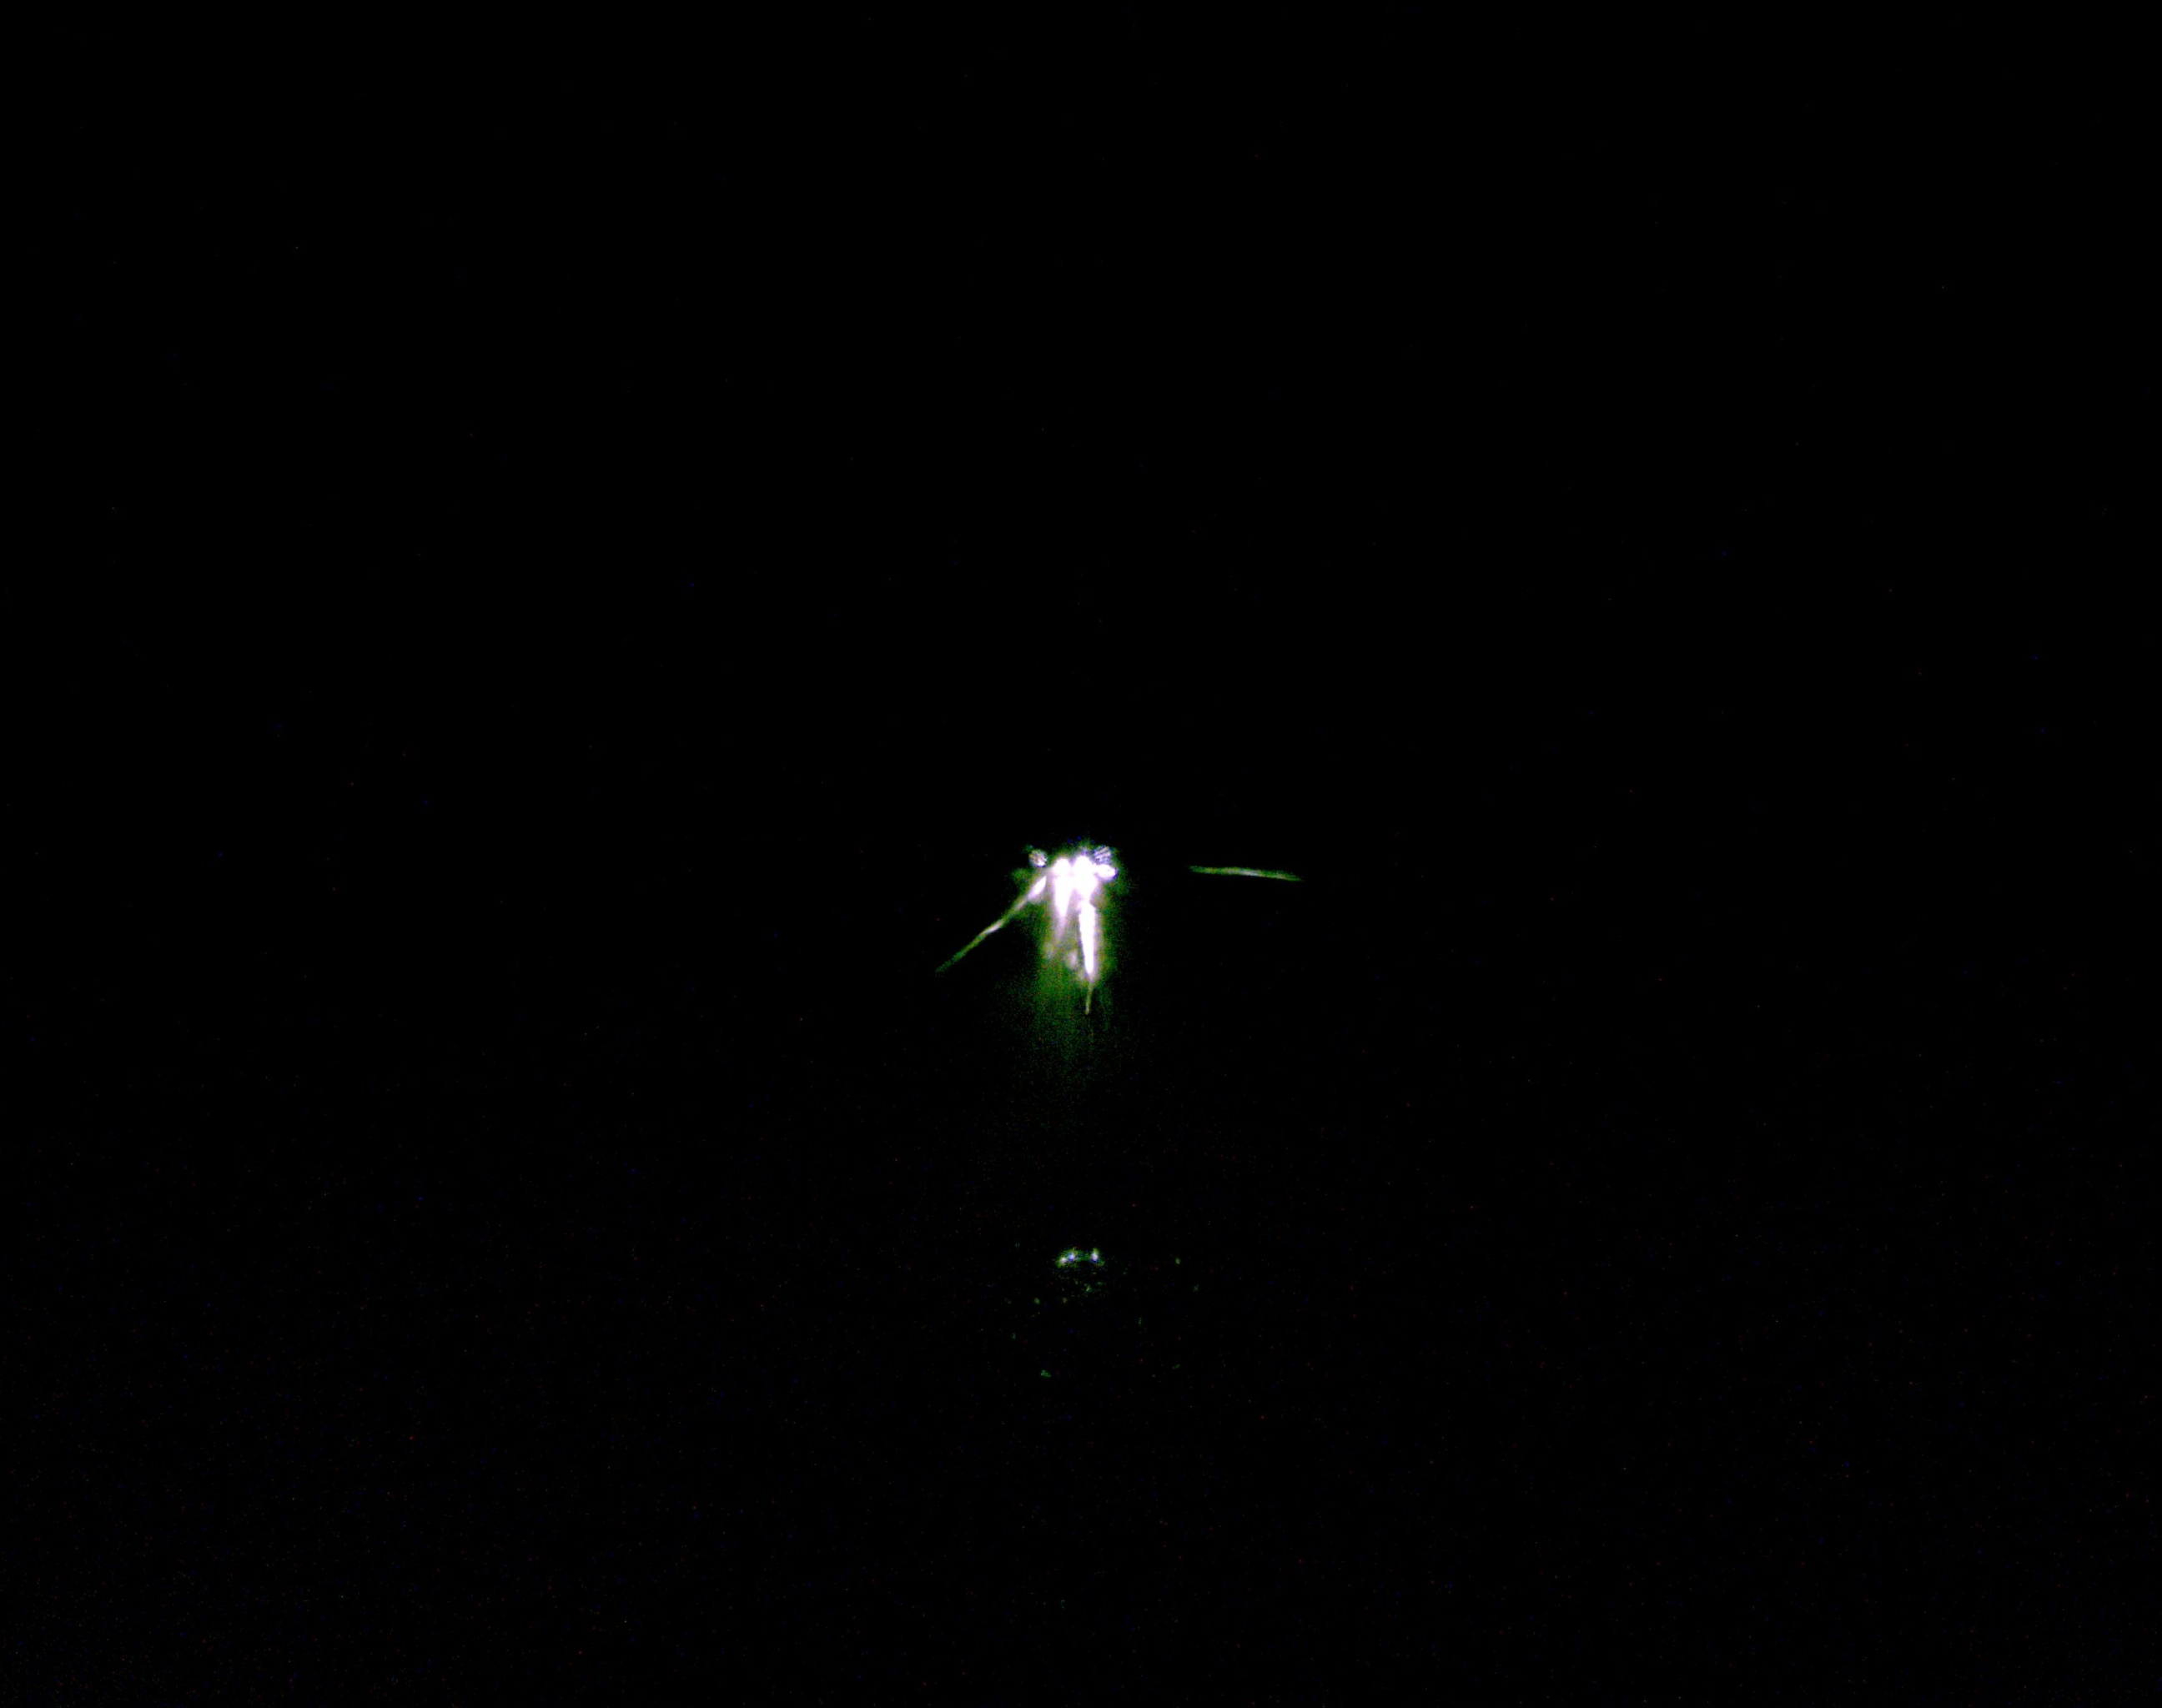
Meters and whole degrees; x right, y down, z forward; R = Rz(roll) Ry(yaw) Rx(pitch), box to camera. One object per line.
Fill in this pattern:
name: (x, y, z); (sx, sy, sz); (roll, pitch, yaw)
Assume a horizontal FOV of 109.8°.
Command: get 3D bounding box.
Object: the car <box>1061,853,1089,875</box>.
car: (-0.504, 0.717, 55.292); (1.776, 1.444, 4.134); (-3, 0, -3)
